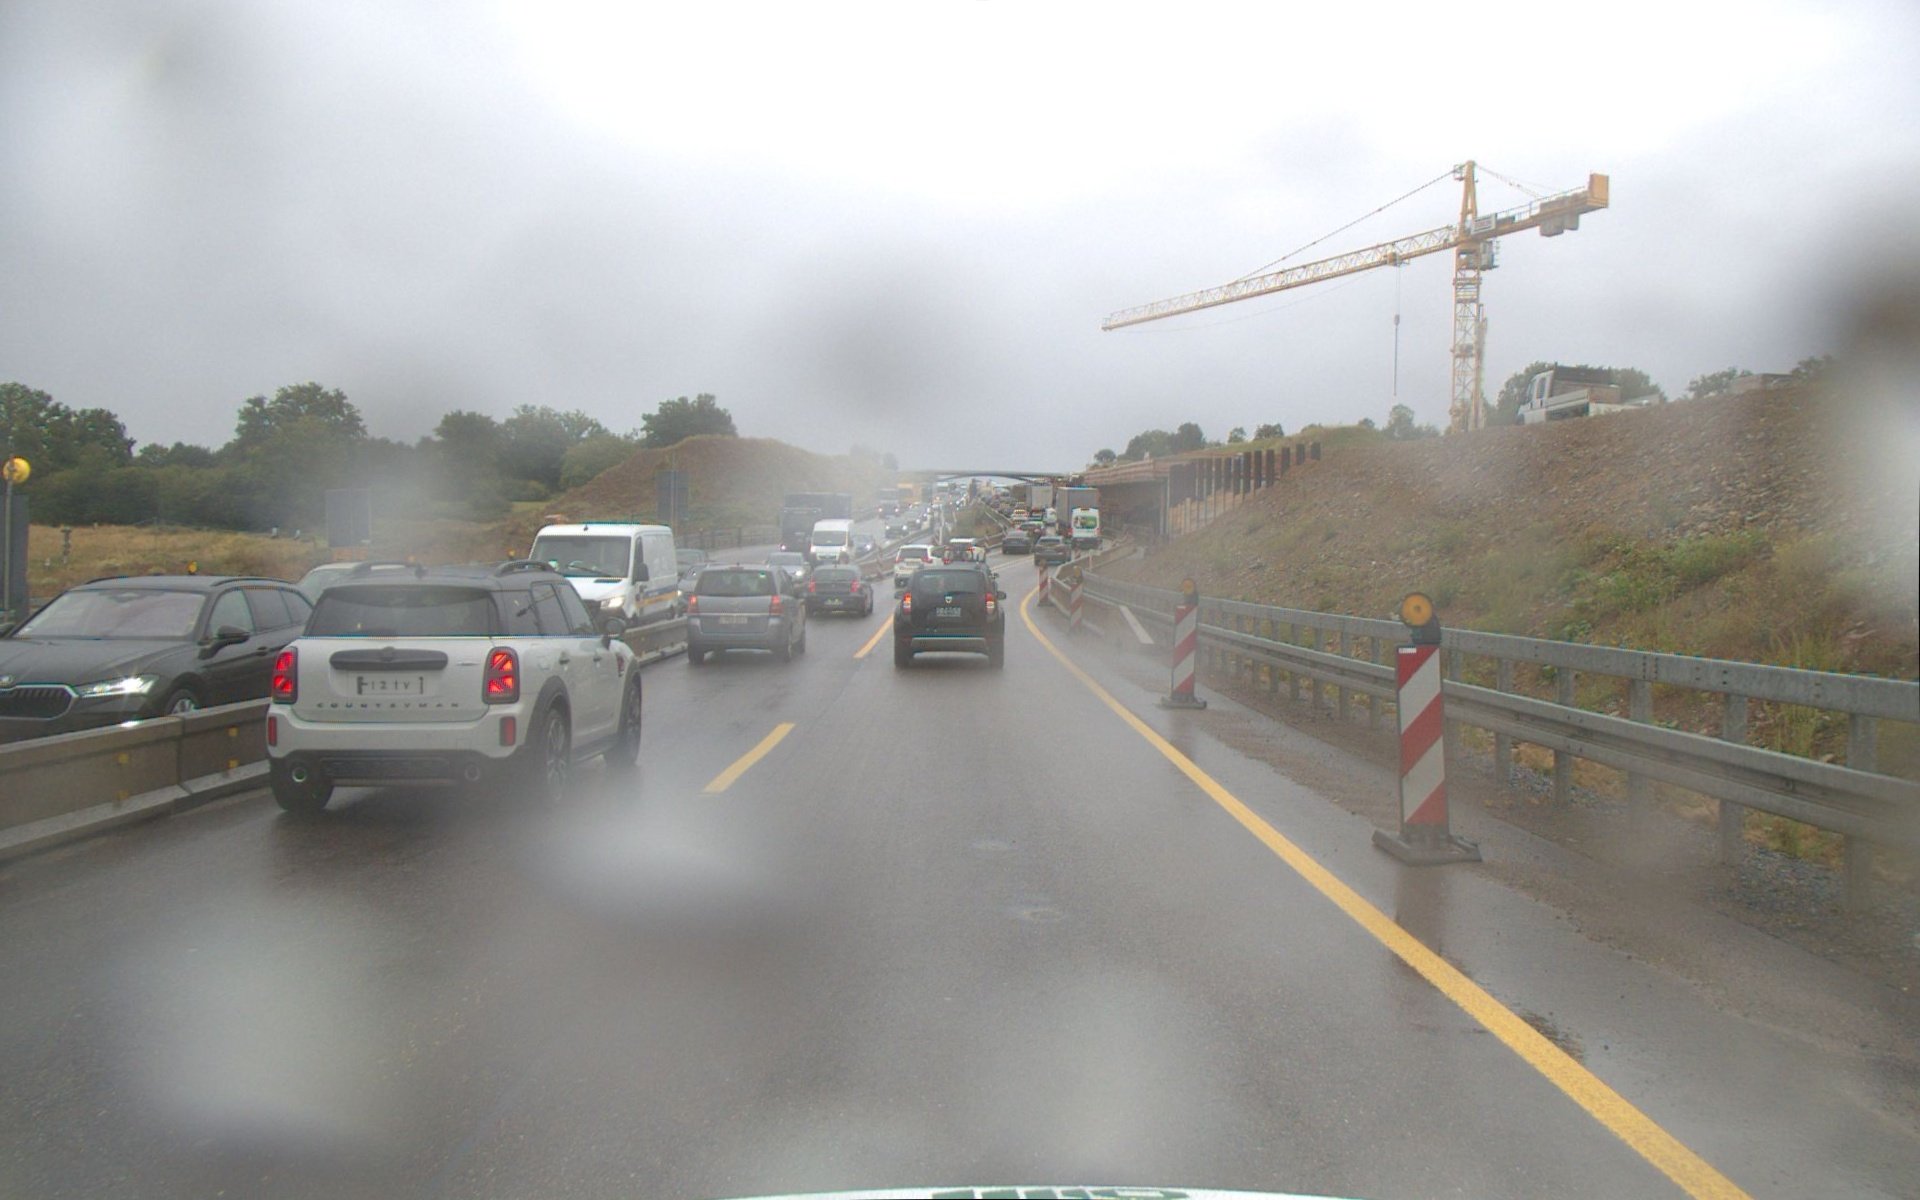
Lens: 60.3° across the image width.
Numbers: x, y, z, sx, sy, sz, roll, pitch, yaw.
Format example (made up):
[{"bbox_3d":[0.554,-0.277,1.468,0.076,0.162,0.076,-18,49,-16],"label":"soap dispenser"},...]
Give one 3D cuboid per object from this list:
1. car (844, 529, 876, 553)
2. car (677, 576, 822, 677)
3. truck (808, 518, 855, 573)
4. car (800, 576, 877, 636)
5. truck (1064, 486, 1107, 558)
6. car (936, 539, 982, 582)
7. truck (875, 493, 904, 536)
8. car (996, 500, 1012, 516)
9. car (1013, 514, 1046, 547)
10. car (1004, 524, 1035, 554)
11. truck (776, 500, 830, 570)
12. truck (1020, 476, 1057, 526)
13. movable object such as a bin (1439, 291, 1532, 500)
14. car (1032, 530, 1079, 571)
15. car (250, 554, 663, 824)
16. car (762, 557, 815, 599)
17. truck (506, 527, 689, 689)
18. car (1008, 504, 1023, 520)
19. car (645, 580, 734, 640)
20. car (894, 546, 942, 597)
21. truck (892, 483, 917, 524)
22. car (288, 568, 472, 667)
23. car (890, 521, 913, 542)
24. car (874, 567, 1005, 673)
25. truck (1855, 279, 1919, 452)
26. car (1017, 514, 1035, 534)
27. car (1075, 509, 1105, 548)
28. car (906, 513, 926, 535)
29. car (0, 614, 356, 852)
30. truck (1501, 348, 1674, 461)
[{"bbox_3d":[-6.203,-3.684,103.211,1.831,1.496,4.670,0,2,-1],"label":"car"},{"bbox_3d":[-3.598,0.430,28.963,1.952,1.628,4.141,0,0,1],"label":"car"},{"bbox_3d":[-6.699,-2.835,86.816,2.104,2.760,6.016,0,2,-1],"label":"truck"},{"bbox_3d":[-3.354,0.161,46.479,1.953,1.628,4.139,0,0,-2],"label":"car"},{"bbox_3d":[10.449,-6.364,136.906,3.035,5.521,9.450,0,0,7],"label":"truck"},{"bbox_3d":[-0.012,-2.054,87.875,1.951,2.200,4.144,0,0,7],"label":"car"},{"bbox_3d":[-8.468,-10.284,200.155,3.019,5.004,8.566,1,2,1],"label":"truck"},{"bbox_3d":[5.729,-12.088,217.760,1.953,2.048,4.000,-1,2,0],"label":"car"},{"bbox_3d":[4.996,-4.999,118.995,1.951,2.200,4.144,0,0,8],"label":"car"},{"bbox_3d":[3.871,-3.946,107.842,1.952,1.792,3.815,0,0,1],"label":"car"},{"bbox_3d":[-9.492,-3.966,100.551,2.588,4.039,9.213,0,2,-1],"label":"truck"},{"bbox_3d":[9.285,-11.704,197.288,3.726,5.131,12.919,0,0,-1],"label":"truck"},{"bbox_3d":[30.939,-11.764,97.918,4.618,11.032,10.311,0,0,14],"label":"movable object such as a bin"},{"bbox_3d":[5.429,-2.766,93.314,1.951,2.200,4.144,0,0,13],"label":"car"},{"bbox_3d":[-3.425,0.515,12.142,1.779,1.628,4.307,0,1,-1],"label":"car"},{"bbox_3d":[-6.695,-0.888,64.756,1.642,1.550,4.345,0,1,-1],"label":"car"},{"bbox_3d":[-6.381,0.132,29.874,2.036,2.621,5.961,0,0,-1],"label":"truck"},{"bbox_3d":[7.807,-12.434,234.201,1.953,2.049,3.999,0,0,-1],"label":"car"},{"bbox_3d":[-7.412,0.229,45.615,1.750,1.565,4.312,0,1,0],"label":"car"},{"bbox_3d":[-1.759,-1.179,70.037,1.953,2.049,3.893,0,0,-1],"label":"car"},{"bbox_3d":[-7.733,-13.466,232.322,3.077,5.511,8.525,1,2,1],"label":"truck"},{"bbox_3d":[-9.781,0.247,28.193,1.751,1.573,4.000,0,1,-1],"label":"car"},{"bbox_3d":[-4.820,-5.666,136.418,1.702,1.713,5.553,1,2,0],"label":"car"},{"bbox_3d":[-0.299,0.312,27.736,2.038,1.628,4.141,0,0,0],"label":"car"},{"bbox_3d":[18.986,-4.352,27.730,3.325,2.925,8.961,0,0,2],"label":"truck"},{"bbox_3d":[7.023,-8.136,177.394,1.811,1.927,4.022,0,0,1],"label":"car"},{"bbox_3d":[9.119,-4.962,115.637,1.951,2.527,4.985,0,0,6],"label":"car"},{"bbox_3d":[-4.112,-7.175,156.396,1.749,1.841,4.499,0,0,0],"label":"car"},{"bbox_3d":[-6.703,0.935,13.662,1.736,1.531,4.678,0,1,-1],"label":"car"},{"bbox_3d":[19.005,-5.861,50.573,2.591,2.599,6.983,0,0,-1],"label":"truck"}]
